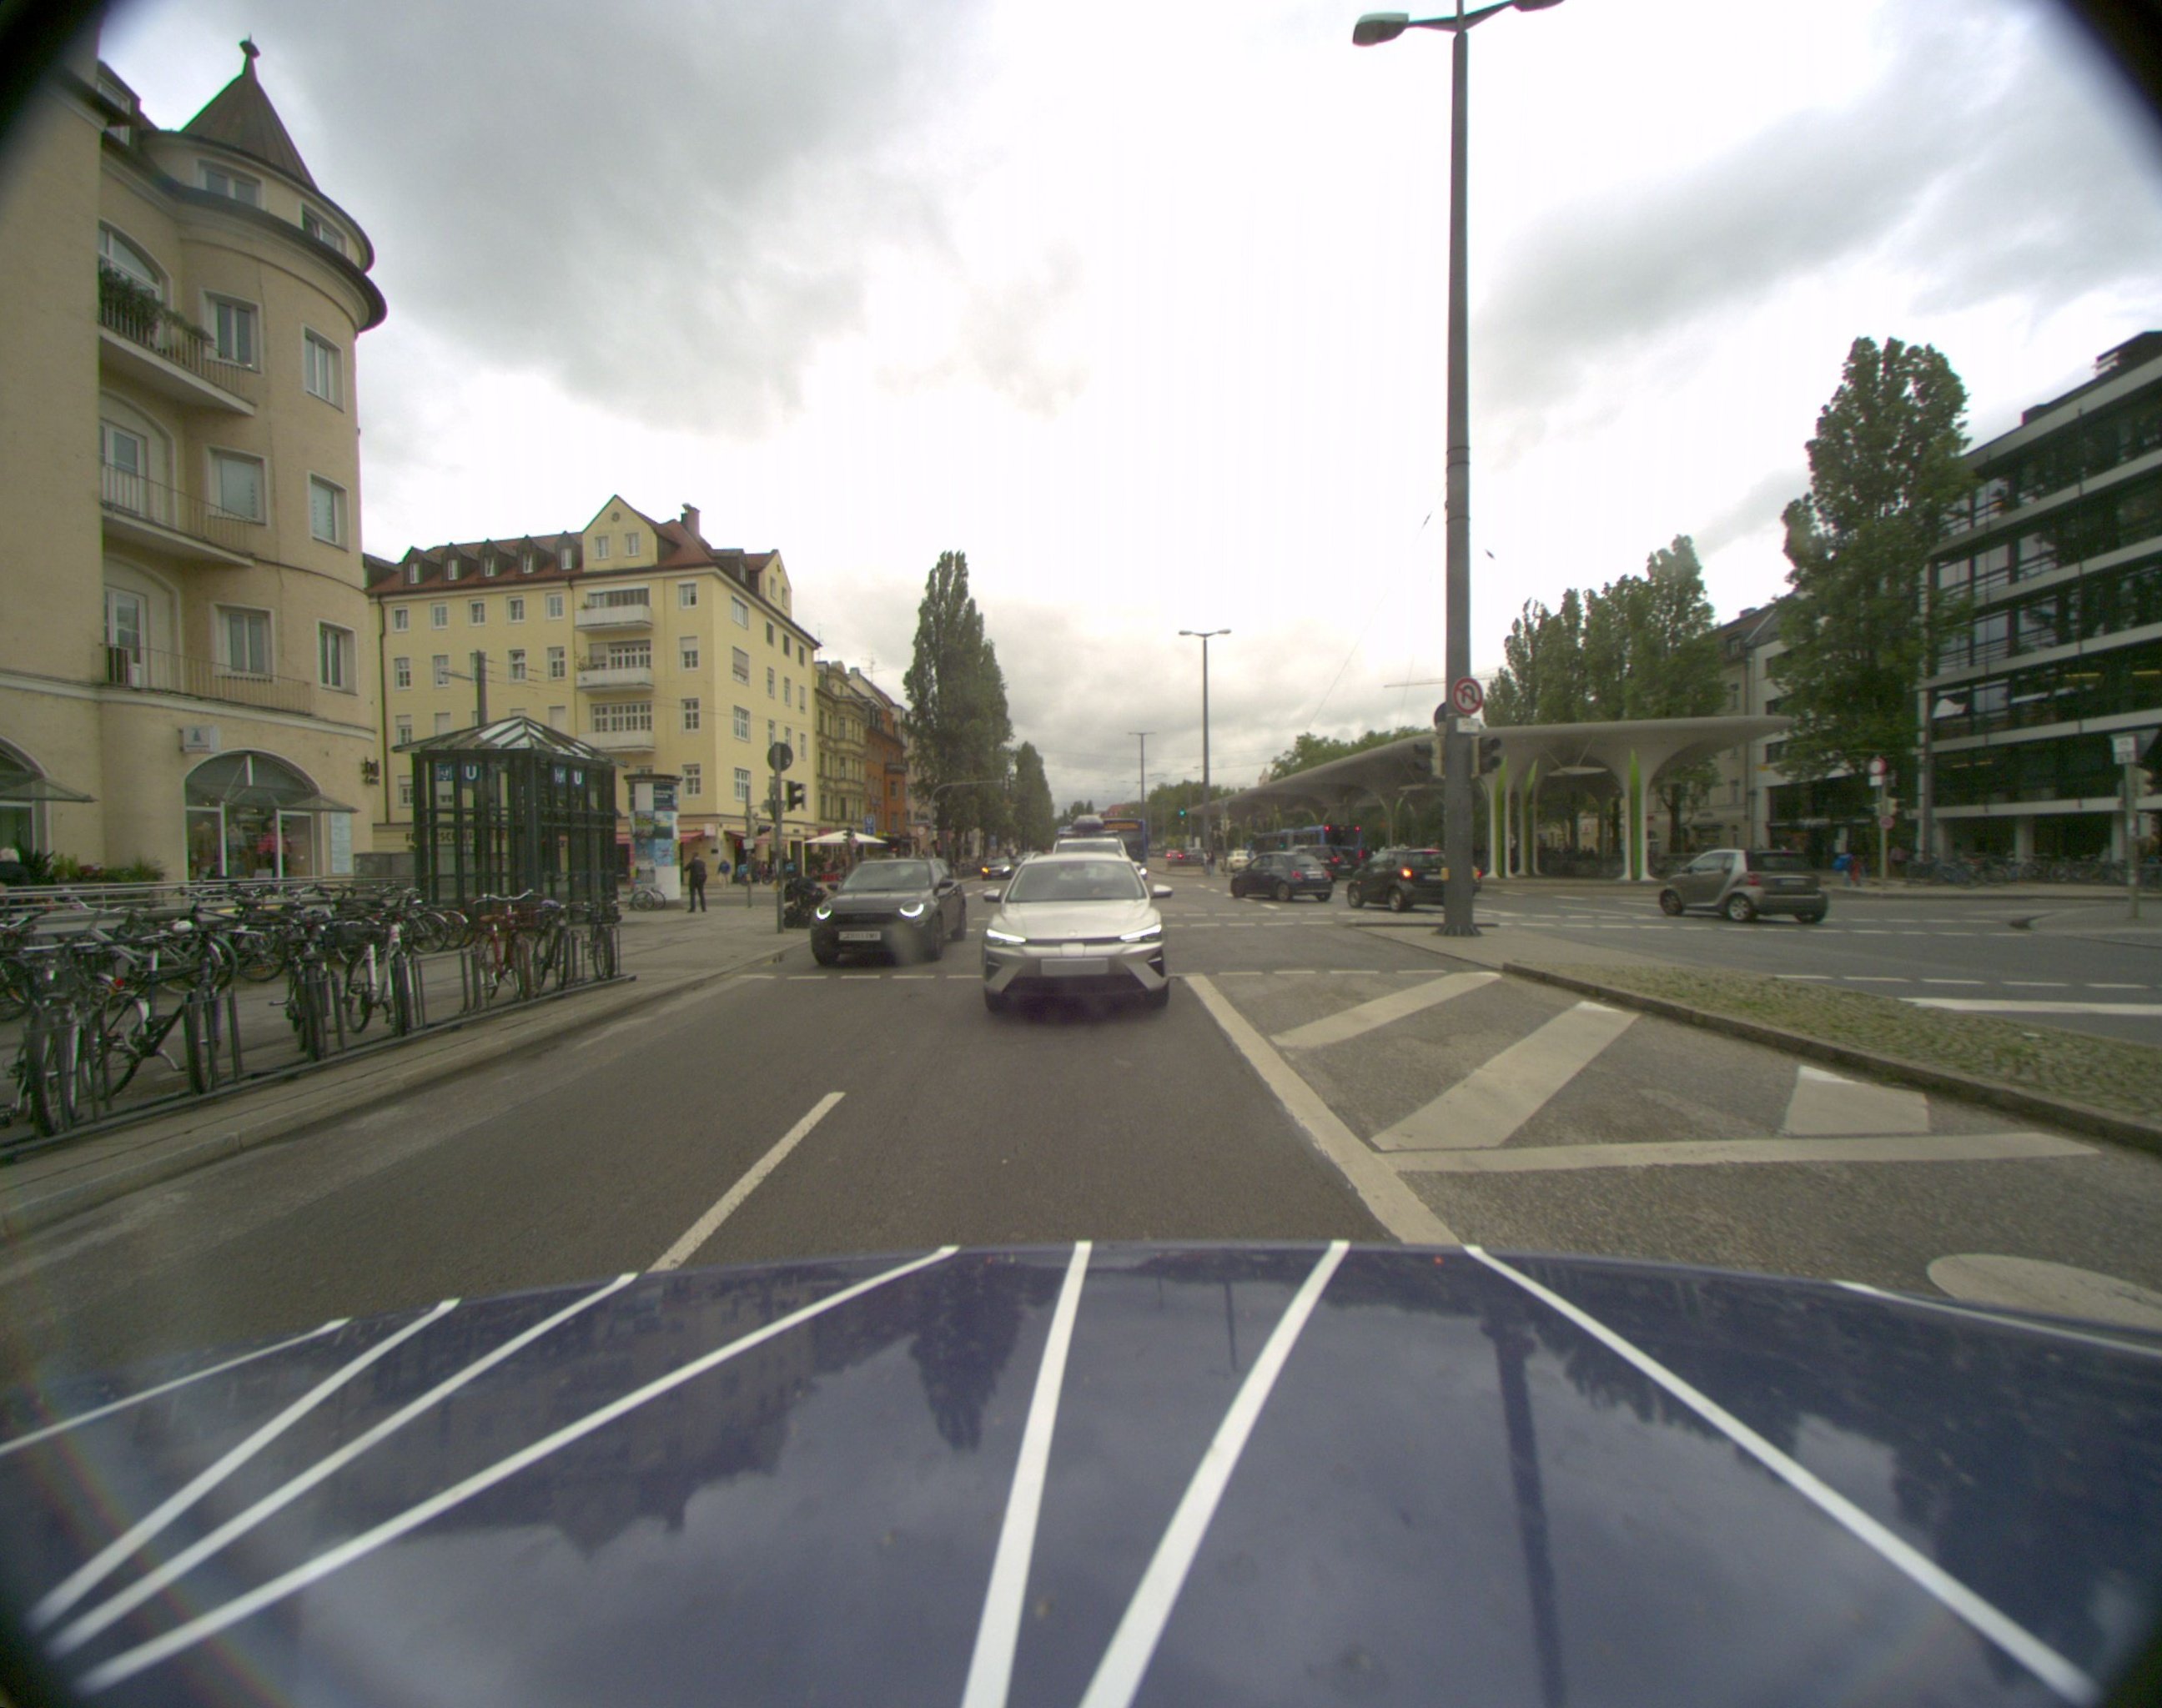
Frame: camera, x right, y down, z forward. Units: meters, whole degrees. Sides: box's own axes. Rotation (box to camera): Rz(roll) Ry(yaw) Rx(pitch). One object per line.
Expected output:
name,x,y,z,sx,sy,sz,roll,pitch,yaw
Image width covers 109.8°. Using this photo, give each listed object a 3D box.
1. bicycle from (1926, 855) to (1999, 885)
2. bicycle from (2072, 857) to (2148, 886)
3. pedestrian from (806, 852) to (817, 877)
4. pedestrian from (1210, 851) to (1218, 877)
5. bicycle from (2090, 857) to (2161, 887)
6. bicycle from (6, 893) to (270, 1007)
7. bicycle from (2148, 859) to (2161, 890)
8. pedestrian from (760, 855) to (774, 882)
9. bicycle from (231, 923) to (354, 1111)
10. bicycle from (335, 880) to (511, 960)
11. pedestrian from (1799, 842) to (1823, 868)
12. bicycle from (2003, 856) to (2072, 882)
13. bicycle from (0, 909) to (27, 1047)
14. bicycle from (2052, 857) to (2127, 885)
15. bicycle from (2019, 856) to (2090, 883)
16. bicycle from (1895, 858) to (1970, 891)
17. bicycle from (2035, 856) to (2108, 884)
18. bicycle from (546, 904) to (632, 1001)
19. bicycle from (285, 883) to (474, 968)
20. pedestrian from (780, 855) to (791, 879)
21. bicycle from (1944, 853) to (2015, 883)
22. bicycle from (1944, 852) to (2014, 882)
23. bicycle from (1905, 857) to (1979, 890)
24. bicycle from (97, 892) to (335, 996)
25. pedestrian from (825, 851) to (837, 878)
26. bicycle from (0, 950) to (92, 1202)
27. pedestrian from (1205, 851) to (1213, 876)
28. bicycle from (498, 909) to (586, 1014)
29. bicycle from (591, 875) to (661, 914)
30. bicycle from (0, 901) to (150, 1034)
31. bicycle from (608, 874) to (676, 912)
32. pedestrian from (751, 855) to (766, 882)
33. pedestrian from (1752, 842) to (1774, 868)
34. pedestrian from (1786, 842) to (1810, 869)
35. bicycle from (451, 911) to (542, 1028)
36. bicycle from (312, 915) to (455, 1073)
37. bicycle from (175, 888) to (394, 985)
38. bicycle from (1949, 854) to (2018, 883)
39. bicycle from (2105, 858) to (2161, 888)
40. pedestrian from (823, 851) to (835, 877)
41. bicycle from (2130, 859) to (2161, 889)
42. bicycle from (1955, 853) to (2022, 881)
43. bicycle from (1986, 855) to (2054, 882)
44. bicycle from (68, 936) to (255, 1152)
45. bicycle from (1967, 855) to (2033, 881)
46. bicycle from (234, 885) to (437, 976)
bicycle,32.447,0.574,27.993,0.473,1.091,1.672,-1,1,-24
bicycle,40.978,0.696,30.271,2.073,1.127,0.561,0,1,6
pedestrian,-18.341,0.722,51.715,0.552,1.675,0.585,-1,1,1
pedestrian,7.285,0.526,41.693,0.357,1.411,0.380,0,1,0
bicycle,40.898,0.710,29.659,2.073,1.127,0.561,0,1,6
bicycle,-10.790,1.084,8.731,2.330,1.220,0.628,-1,1,3
bicycle,40.560,0.756,27.766,2.073,1.127,0.561,0,1,6
pedestrian,-17.843,0.816,43.175,0.528,1.517,0.585,-1,1,1
bicycle,-5.965,1.141,5.719,1.673,1.131,0.479,-1,1,40
bicycle,-10.524,1.049,12.179,2.317,1.220,0.628,-1,1,3
pedestrian,47.939,0.044,49.901,0.800,1.714,0.827,0,1,12
bicycle,41.190,0.644,32.737,2.073,1.127,0.561,0,1,6
bicycle,-10.798,1.121,6.666,2.317,1.220,0.628,-1,1,3
bicycle,41.036,0.682,30.939,2.073,1.127,0.561,0,1,6
bicycle,41.126,0.657,32.126,2.073,1.127,0.561,0,1,6
bicycle,29.644,0.709,26.484,0.473,1.091,1.672,-1,1,-24
bicycle,41.084,0.670,31.522,2.073,1.127,0.561,0,1,6
bicycle,-6.080,1.182,9.343,1.848,1.053,0.398,-5,-1,43
bicycle,-10.549,1.062,11.461,2.317,1.220,0.628,-1,1,3
pedestrian,-18.834,0.812,48.475,0.529,1.517,0.585,-1,1,-13
bicycle,33.745,0.514,28.561,0.473,1.091,1.672,-1,1,-24
bicycle,34.285,0.485,29.031,0.473,1.091,1.672,-1,1,-24
bicycle,30.375,0.675,26.832,0.473,1.091,1.672,-1,1,-24
bicycle,-10.760,1.106,9.487,2.317,1.220,0.628,-1,1,3
pedestrian,-16.103,0.671,48.884,0.552,1.675,0.585,-1,1,1
bicycle,-5.896,1.165,4.267,1.521,1.131,0.349,-1,1,36
pedestrian,7.074,0.528,42.060,0.357,1.411,0.380,0,1,0
bicycle,-6.119,1.176,8.586,1.848,1.053,0.398,-5,-1,43
bicycle,-13.235,1.170,22.098,1.822,1.121,0.610,0,0,13
bicycle,-10.834,1.113,7.602,2.342,1.220,0.628,-1,1,3
bicycle,-13.139,1.155,22.746,1.822,1.121,0.610,0,0,13
pedestrian,-18.348,0.836,43.217,0.528,1.517,0.585,-1,1,1
pedestrian,45.045,0.070,50.180,0.834,1.689,0.906,0,1,22
pedestrian,46.971,0.084,49.782,0.800,1.714,0.827,0,1,12
bicycle,-6.064,1.144,7.849,1.848,1.053,0.398,-5,-1,43
bicycle,-6.004,1.129,6.510,1.780,1.131,0.479,-1,1,35
bicycle,-10.619,1.088,10.165,2.317,1.220,0.628,-1,1,3
bicycle,35.083,0.538,29.554,0.474,1.091,1.671,-1,1,-33
bicycle,40.725,0.727,29.070,2.073,1.127,0.561,0,1,6
pedestrian,-16.472,0.671,49.670,0.552,1.675,0.585,-1,1,1
bicycle,40.680,0.741,28.361,2.073,1.127,0.561,0,1,6
bicycle,36.137,0.507,30.275,0.474,1.091,1.671,-1,1,-33
bicycle,41.217,0.632,33.356,2.073,1.127,0.561,0,1,6
bicycle,-6.035,1.157,4.966,1.674,1.131,0.479,-2,1,31
bicycle,41.236,0.618,34.094,2.073,1.127,0.561,0,1,6
bicycle,-10.557,1.075,10.798,2.317,1.220,0.628,-1,1,3
